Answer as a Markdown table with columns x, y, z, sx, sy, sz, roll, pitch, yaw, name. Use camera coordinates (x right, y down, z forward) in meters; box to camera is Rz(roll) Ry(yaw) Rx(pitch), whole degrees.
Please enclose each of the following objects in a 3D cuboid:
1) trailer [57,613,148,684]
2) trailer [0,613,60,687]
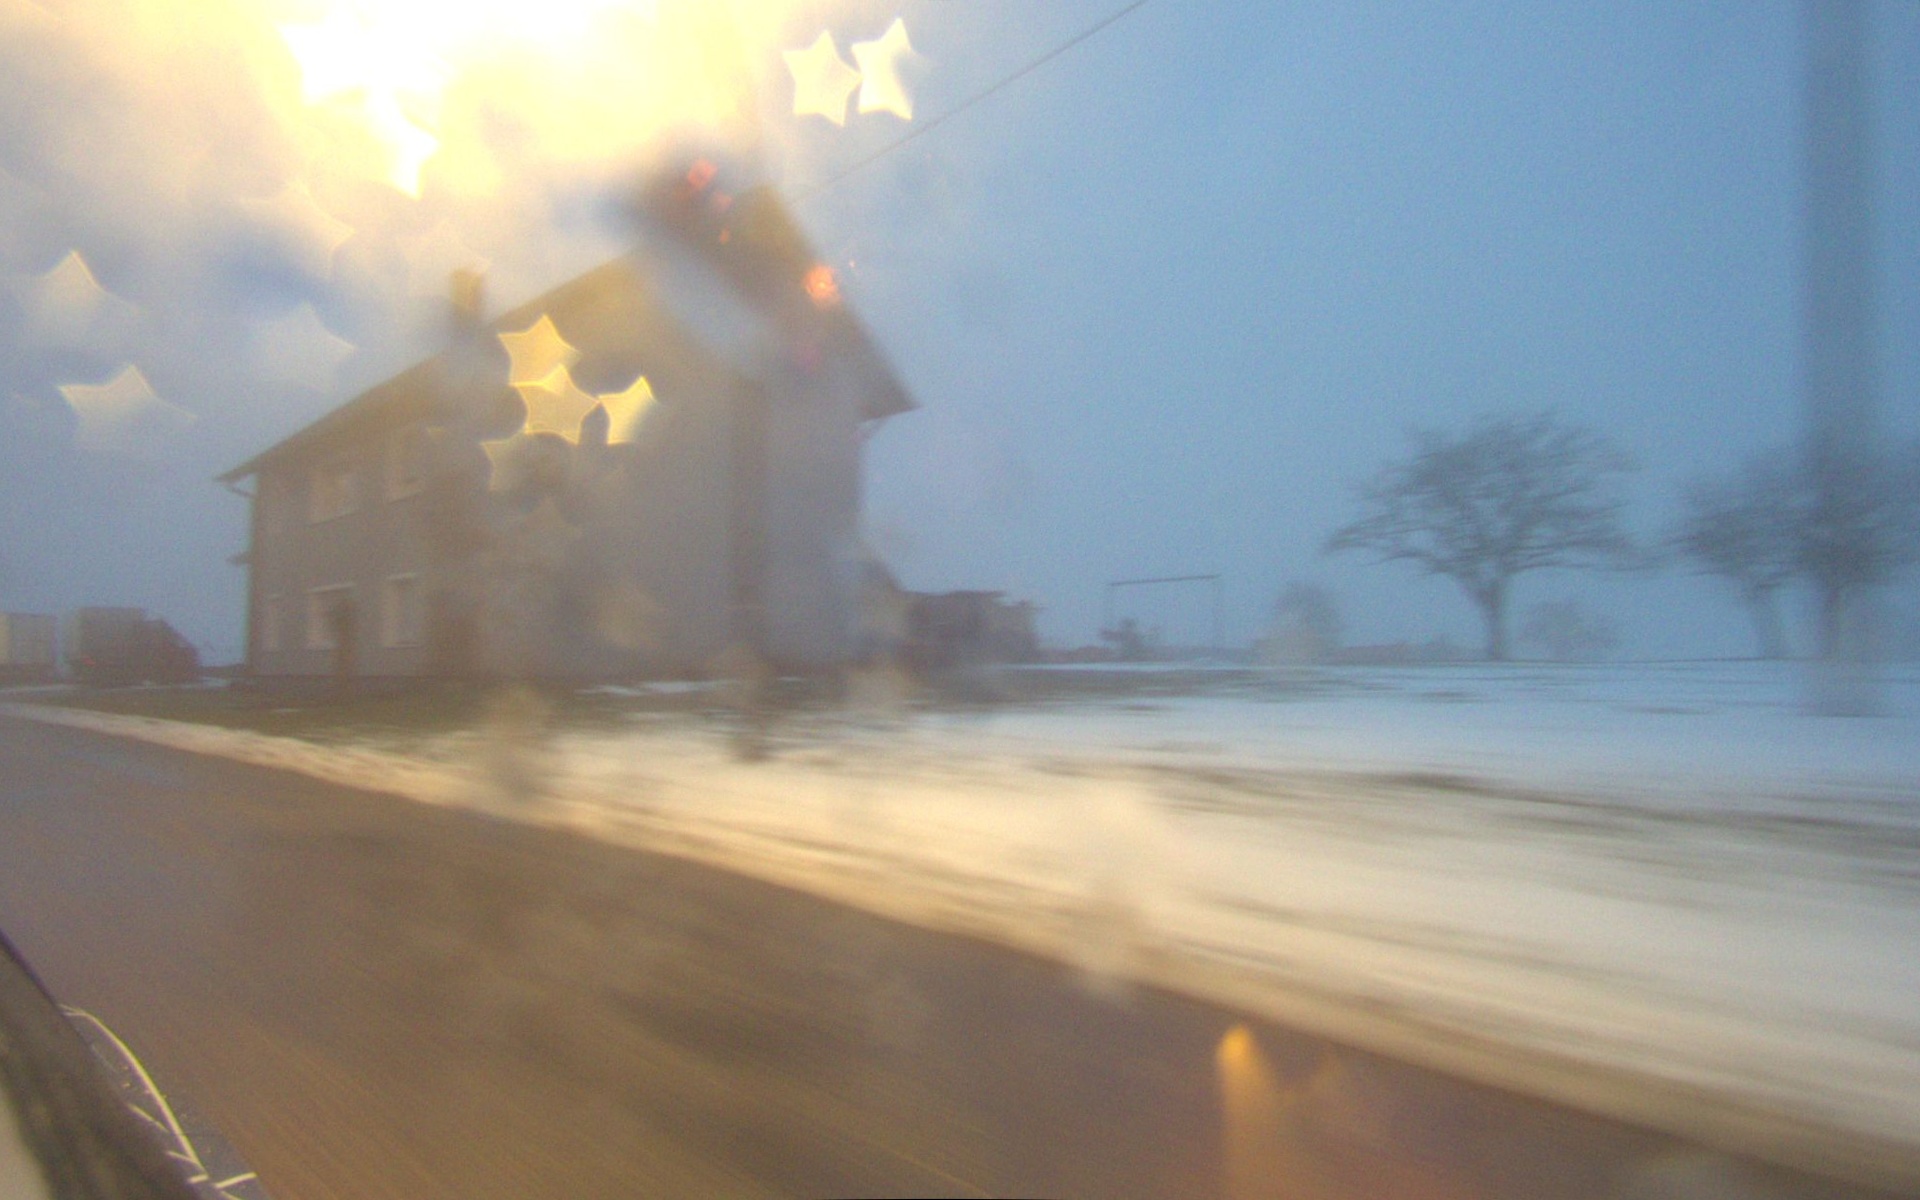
| x | y | z | sx | sy | sz | roll | pitch | yaw | name |
| --- | --- | --- | --- | --- | --- | --- | --- | --- | --- |
| -32.885 | 1.919 | 38.794 | 4.008 | 2.509 | 1.972 | -5 | -8 | 41 | trailer |
| -35.690 | 1.887 | 37.540 | 3.411 | 2.625 | 1.687 | -2 | -6 | 14 | trailer |
